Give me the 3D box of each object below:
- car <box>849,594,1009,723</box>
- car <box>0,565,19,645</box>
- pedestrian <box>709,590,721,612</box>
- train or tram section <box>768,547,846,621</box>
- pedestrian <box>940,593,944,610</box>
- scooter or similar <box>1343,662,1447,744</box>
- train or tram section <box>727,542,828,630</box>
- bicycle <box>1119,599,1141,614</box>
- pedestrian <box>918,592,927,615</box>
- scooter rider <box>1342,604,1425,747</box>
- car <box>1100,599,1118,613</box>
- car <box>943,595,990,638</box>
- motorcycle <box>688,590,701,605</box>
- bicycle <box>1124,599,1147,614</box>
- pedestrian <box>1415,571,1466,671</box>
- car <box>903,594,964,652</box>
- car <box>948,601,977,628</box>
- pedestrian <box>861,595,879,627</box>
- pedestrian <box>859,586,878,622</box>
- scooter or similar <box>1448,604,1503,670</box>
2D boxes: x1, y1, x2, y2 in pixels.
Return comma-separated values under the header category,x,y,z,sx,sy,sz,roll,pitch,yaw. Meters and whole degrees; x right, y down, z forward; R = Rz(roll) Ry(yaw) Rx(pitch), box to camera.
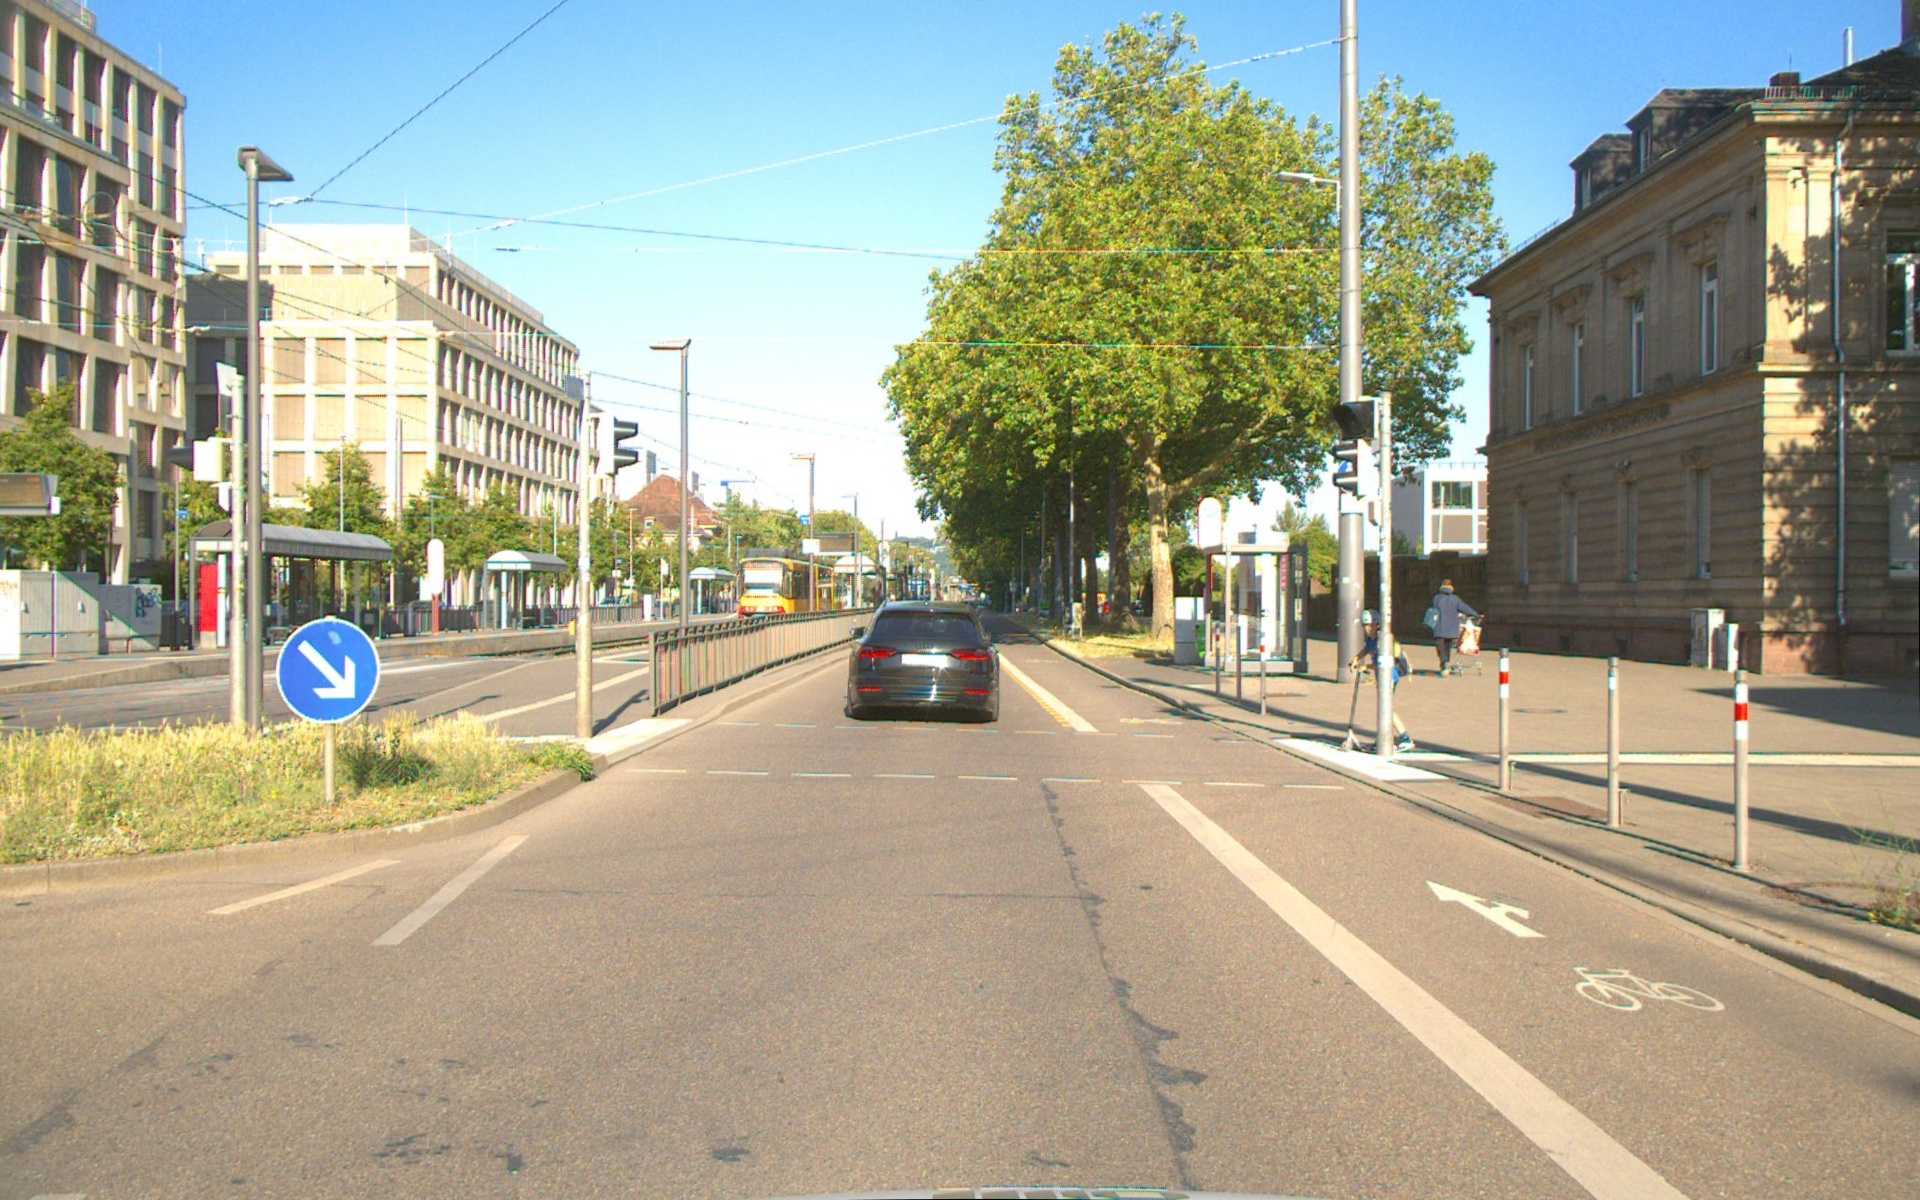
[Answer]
category,x,y,z,sx,sy,sz,roll,pitch,yaw
car,-0.404,0.667,20.801,1.840,1.482,3.355,0,0,-2
car,-25.625,0.139,41.372,1.953,2.049,3.999,0,0,-2
pedestrian,-16.954,0.066,114.502,0.601,1.554,0.725,0,0,9
train or tram section,-8.515,-0.853,93.737,3.241,3.896,11.843,0,0,0
pedestrian,-1.880,0.163,172.631,0.403,1.747,0.665,0,0,0
scooter or similar,4.447,1.053,16.932,1.000,0.825,0.265,0,0,0
train or tram section,-8.661,-0.593,80.555,3.241,3.896,14.219,0,0,0
bicycle,13.587,0.492,132.194,1.737,1.140,0.439,-1,0,-1
pedestrian,-2.804,0.238,123.150,0.599,1.698,0.614,0,0,2
scooter rider,4.279,0.753,16.736,0.687,1.421,0.600,0,0,0
car,15.829,0.635,175.627,1.581,1.542,3.803,0,0,1
car,0.232,0.616,65.467,1.727,1.647,3.999,0,0,-2
motorcycle,-18.559,-0.146,115.547,0.592,1.039,1.842,0,0,1
bicycle,13.369,0.499,125.912,1.653,1.140,0.439,-1,0,-1
pedestrian,8.729,0.377,30.034,0.754,1.775,0.796,-2,0,25
car,-0.799,0.645,48.473,1.727,1.647,3.999,0,0,-2
car,0.119,0.893,105.051,1.727,1.647,3.999,0,0,-2
pedestrian,-3.664,0.430,67.315,0.726,1.296,0.524,0,0,0
pedestrian,-3.934,0.168,70.856,0.730,1.535,0.666,0,0,3
scooter or similar,9.420,0.670,30.234,0.704,1.176,0.759,-2,0,-6
